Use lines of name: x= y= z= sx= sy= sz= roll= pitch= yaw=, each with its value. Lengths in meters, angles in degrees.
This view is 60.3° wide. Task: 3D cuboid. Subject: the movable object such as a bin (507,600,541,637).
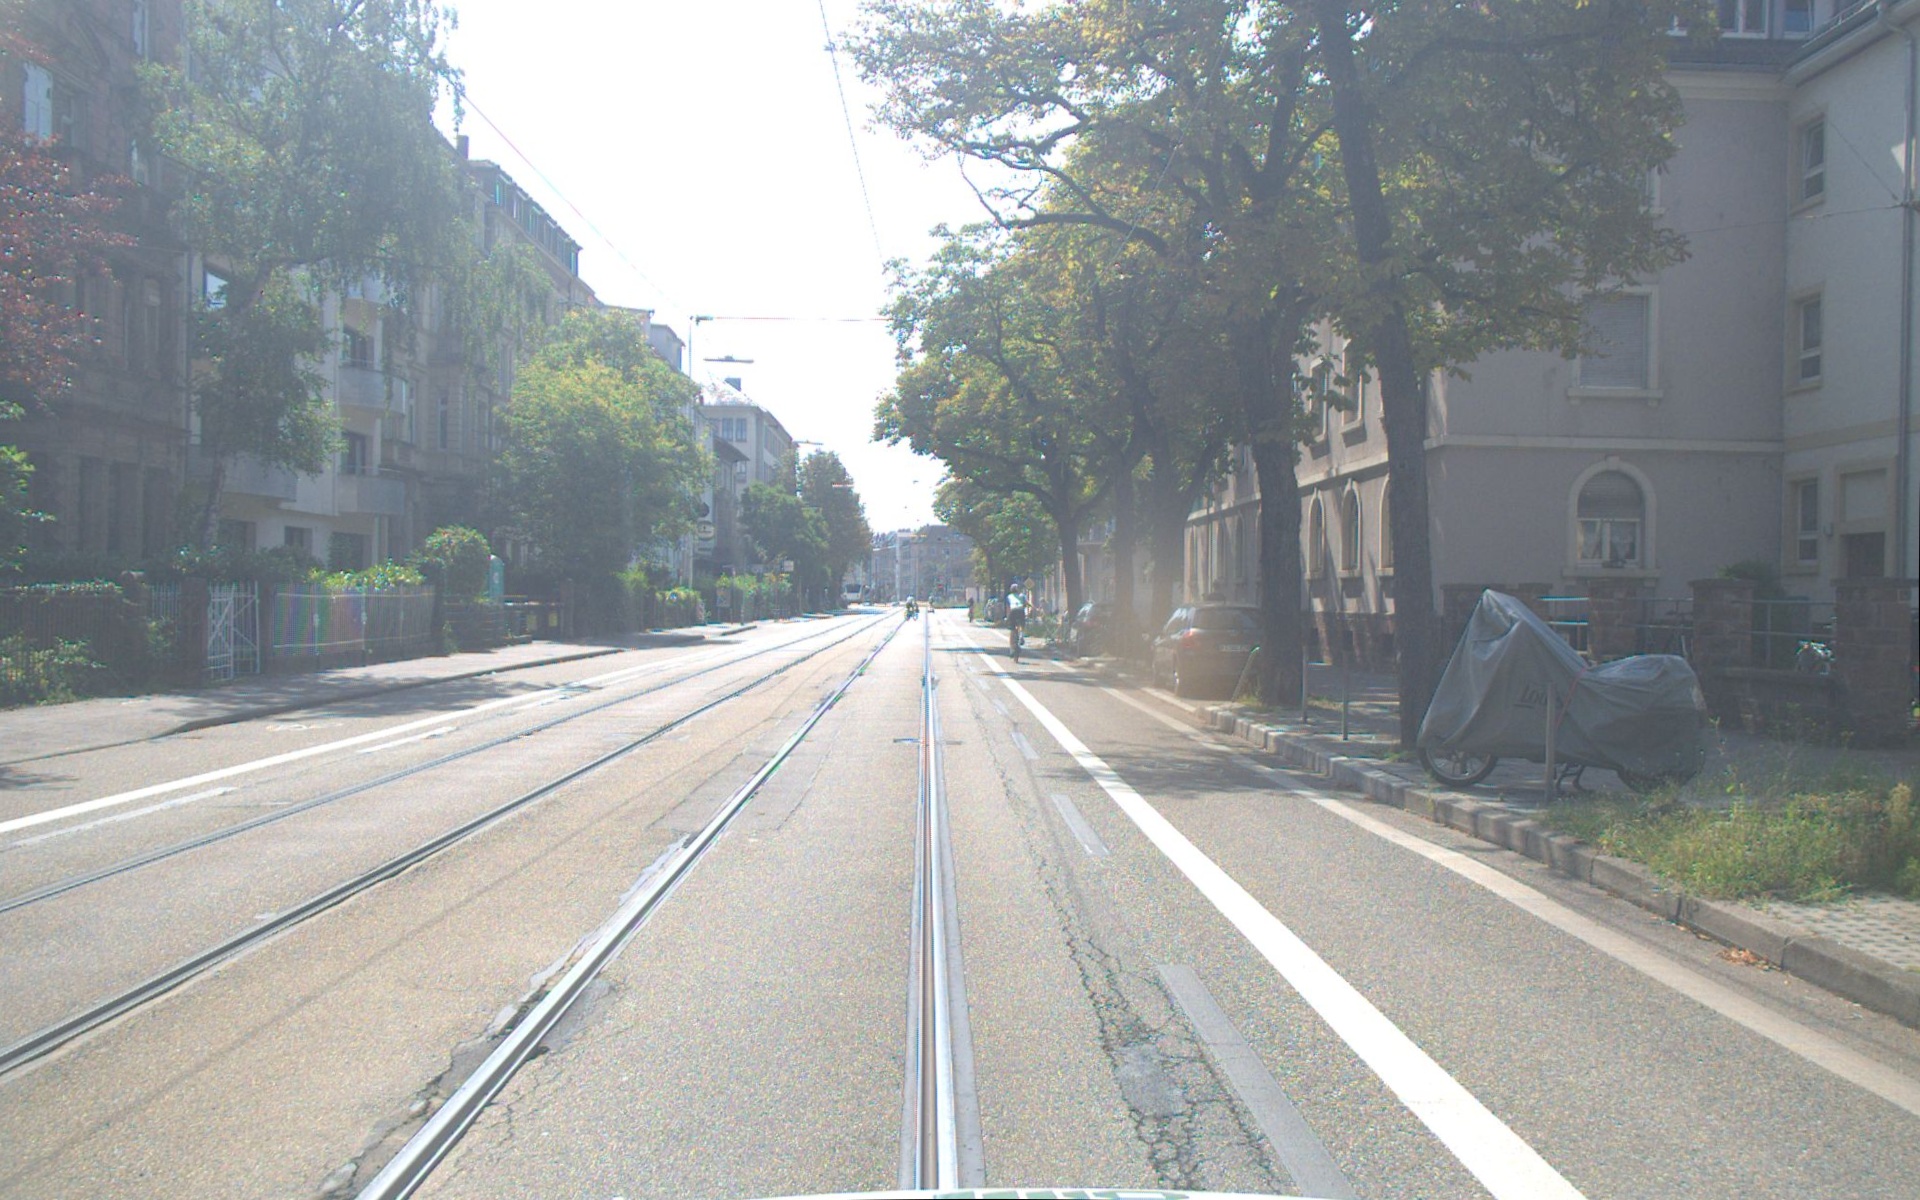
movable object such as a bin: x=-13.030 y=0.553 z=49.432 sx=0.770 sy=1.094 sz=0.803 roll=2 pitch=-1 yaw=1

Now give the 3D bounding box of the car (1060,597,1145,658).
car: x=3.891 y=0.720 z=45.746 sx=1.803 sy=1.559 sz=4.778 roll=-1 pitch=0 yaw=-2

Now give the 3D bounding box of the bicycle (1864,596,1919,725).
bicycle: x=10.635 y=0.655 z=17.783 sx=0.582 sy=1.382 sz=2.369 roll=1 pitch=0 yaw=1

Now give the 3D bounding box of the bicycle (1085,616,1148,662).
bicycle: x=3.930 y=0.981 z=41.543 sx=1.572 sy=1.123 sz=0.399 roll=1 pitch=0 yaw=5

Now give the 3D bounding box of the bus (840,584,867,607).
bus: x=-16.839 y=-0.657 z=263.224 sx=3.660 sy=3.423 sz=15.113 roll=1 pitch=-1 yaw=-2

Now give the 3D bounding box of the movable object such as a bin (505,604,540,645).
movable object such as a bin: x=-12.111 y=0.673 z=45.800 sx=0.771 sy=1.094 sz=0.754 roll=2 pitch=-1 yaw=-3

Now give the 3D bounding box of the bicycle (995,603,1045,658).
bicycle: x=1.451 y=0.720 z=40.501 sx=1.124 sy=1.291 sz=2.712 roll=0 pitch=0 yaw=0

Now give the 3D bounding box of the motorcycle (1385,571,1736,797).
motorcycle: x=4.541 y=0.626 z=12.622 sx=2.303 sy=1.567 sz=0.963 roll=-2 pitch=-2 yaw=40

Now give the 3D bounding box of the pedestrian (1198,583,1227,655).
pedestrian: x=6.863 y=0.512 z=44.963 sx=0.692 sy=1.925 sz=0.714 roll=1 pitch=-1 yaw=0

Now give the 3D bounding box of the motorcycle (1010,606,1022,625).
motorcycle: x=3.320 y=0.919 z=98.044 sx=0.537 sy=1.086 sz=2.330 roll=1 pitch=-1 yaw=-1

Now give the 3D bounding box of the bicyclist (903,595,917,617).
bicyclist: x=-3.256 y=0.387 z=107.327 sx=0.742 sy=1.416 sz=0.780 roll=0 pitch=-1 yaw=13

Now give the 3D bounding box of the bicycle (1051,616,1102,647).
bicycle: x=3.928 y=1.060 z=55.945 sx=1.678 sy=1.050 sz=0.566 roll=1 pitch=-1 yaw=-1

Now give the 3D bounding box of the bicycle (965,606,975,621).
bicycle: x=0.658 y=0.871 z=106.114 sx=0.576 sy=0.955 sz=2.172 roll=1 pitch=-1 yaw=1

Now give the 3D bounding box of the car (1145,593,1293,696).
car: x=4.373 y=0.708 z=28.483 sx=1.803 sy=1.559 sz=4.114 roll=0 pitch=1 yaw=-2

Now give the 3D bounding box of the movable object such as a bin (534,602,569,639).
movable object such as a bin: x=-12.225 y=0.611 z=49.510 sx=0.770 sy=1.094 sz=0.803 roll=2 pitch=-1 yaw=1

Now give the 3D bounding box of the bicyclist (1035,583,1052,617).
bicyclist: x=4.222 y=-0.009 z=83.590 sx=0.807 sy=1.671 sz=0.785 roll=1 pitch=0 yaw=-1

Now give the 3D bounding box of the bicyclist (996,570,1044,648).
bicyclist: x=1.456 y=0.228 z=40.337 sx=1.102 sy=1.869 sz=0.955 roll=1 pitch=-1 yaw=-1

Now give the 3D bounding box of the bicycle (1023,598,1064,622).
bicycle: x=4.203 y=0.520 z=83.588 sx=1.994 sy=1.171 sz=0.785 roll=1 pitch=0 yaw=-3

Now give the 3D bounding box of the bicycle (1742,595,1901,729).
bicycle: x=9.540 y=0.653 z=18.419 sx=0.582 sy=1.382 sz=2.369 roll=1 pitch=0 yaw=1

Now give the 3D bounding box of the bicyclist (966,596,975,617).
bicyclist: x=0.659 y=0.413 z=106.104 sx=0.567 sy=1.301 sz=0.471 roll=1 pitch=-1 yaw=1

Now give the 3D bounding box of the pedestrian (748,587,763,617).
pedestrian: x=-12.095 y=0.124 z=97.955 sx=0.764 sy=1.787 sz=1.040 roll=0 pitch=-1 yaw=-1

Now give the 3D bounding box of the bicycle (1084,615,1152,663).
bicycle: x=4.011 y=0.987 z=41.933 sx=1.686 sy=1.170 sz=0.377 roll=1 pitch=0 yaw=5

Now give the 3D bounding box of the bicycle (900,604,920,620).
bicycle: x=-3.261 y=0.797 z=107.340 sx=0.742 sy=1.008 sz=2.300 roll=0 pitch=-1 yaw=13
